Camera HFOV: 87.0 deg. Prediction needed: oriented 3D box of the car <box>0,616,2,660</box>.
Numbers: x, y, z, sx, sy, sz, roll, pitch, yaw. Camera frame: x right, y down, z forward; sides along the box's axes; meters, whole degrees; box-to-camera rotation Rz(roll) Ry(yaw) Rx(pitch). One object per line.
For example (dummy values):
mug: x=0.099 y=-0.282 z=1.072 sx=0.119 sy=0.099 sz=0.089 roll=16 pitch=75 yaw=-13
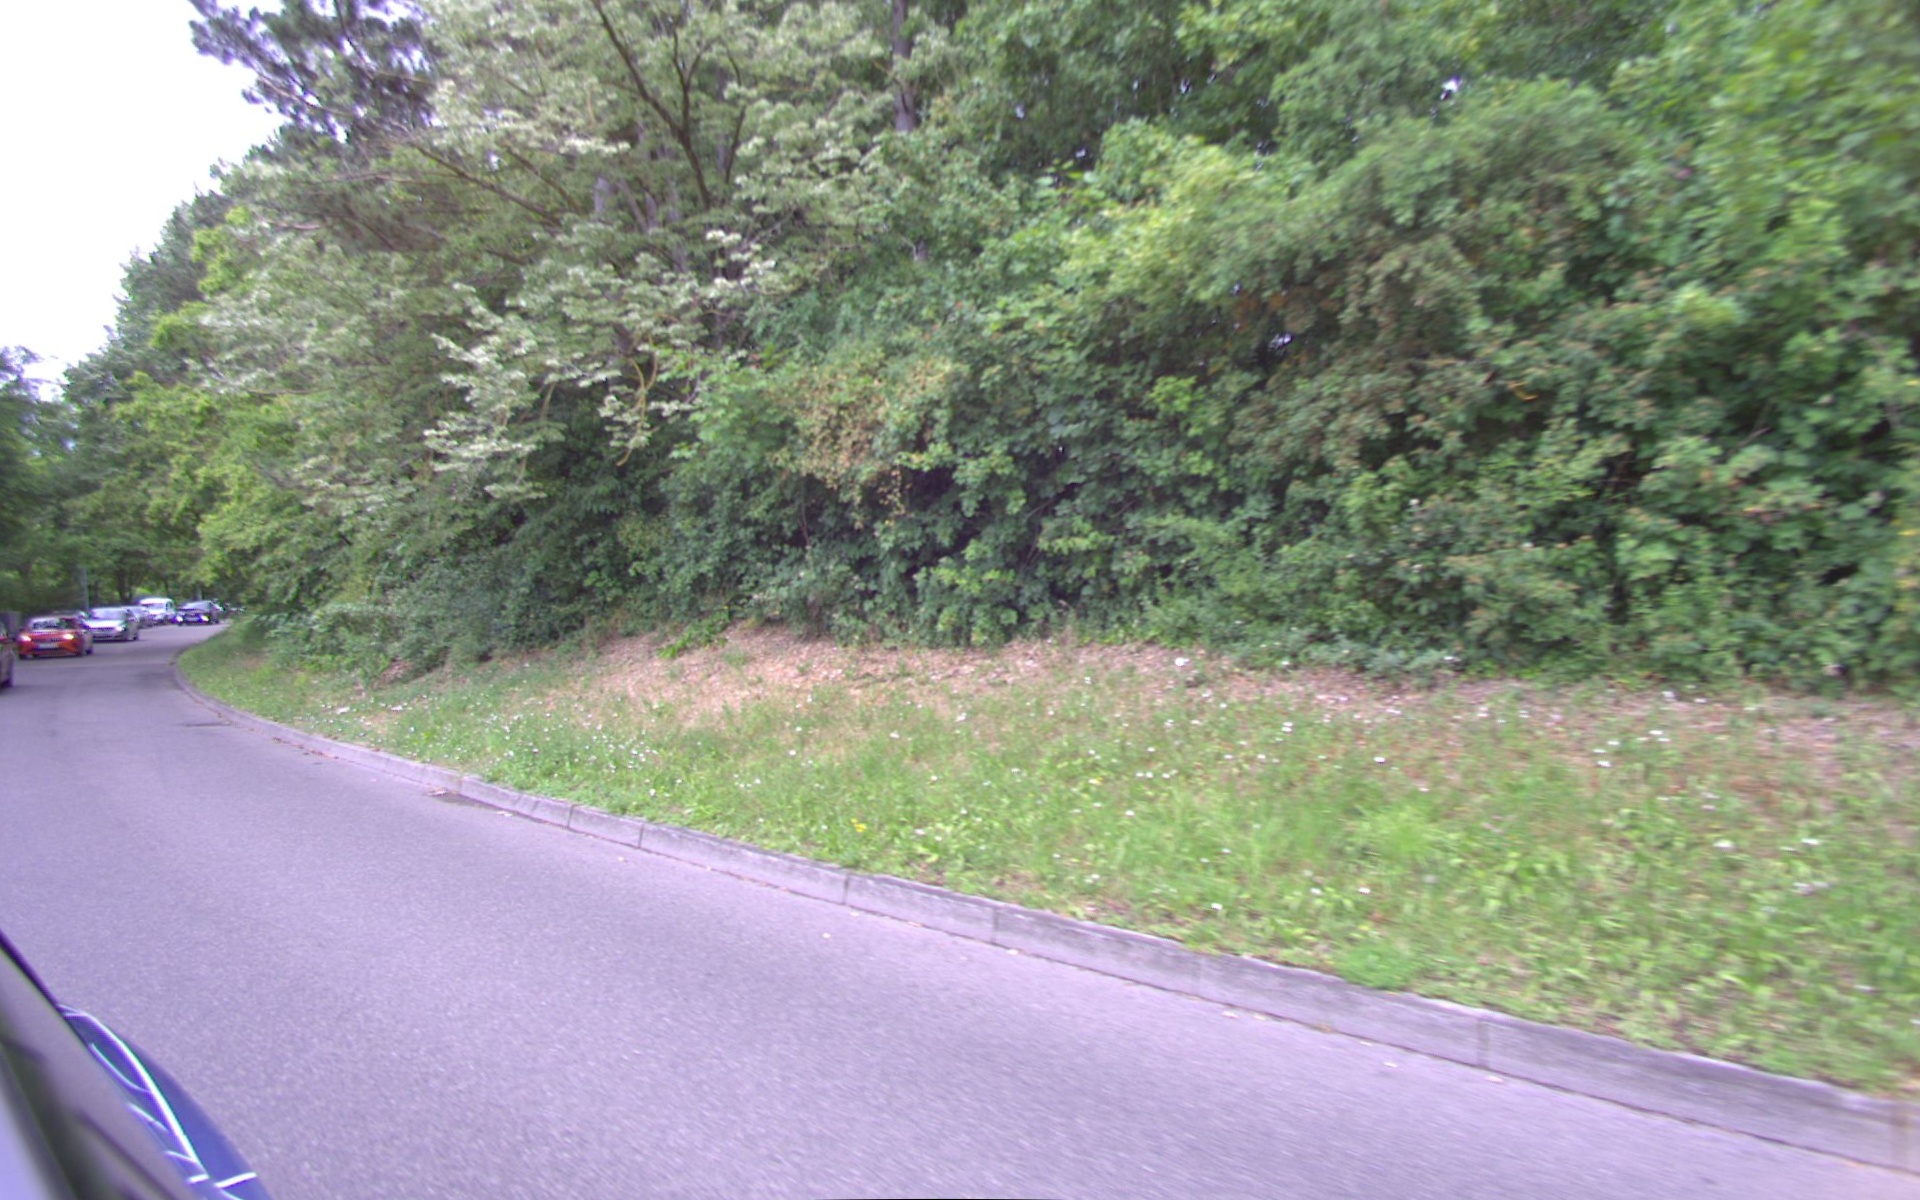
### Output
car: x=-36.640 y=1.427 z=36.951 sx=1.816 sy=1.697 sz=4.611 roll=-1 pitch=-1 yaw=-36

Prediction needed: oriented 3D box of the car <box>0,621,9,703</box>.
car: x=-21.498 y=1.308 z=21.324 sx=4.628 sy=1.640 sz=1.971 roll=-1 pitch=0 yaw=45

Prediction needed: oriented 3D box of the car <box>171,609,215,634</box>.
car: x=-51.141 y=1.412 z=67.556 sx=1.739 sy=1.529 sz=4.013 roll=-2 pitch=1 yaw=-29

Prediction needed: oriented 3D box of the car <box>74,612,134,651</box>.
car: x=-40.089 y=1.441 z=47.461 sx=1.893 sy=1.694 sz=4.009 roll=1 pitch=-1 yaw=-37

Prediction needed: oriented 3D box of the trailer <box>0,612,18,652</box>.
trailer: x=-40.743 y=1.357 z=42.564 sx=1.356 sy=1.616 sz=2.272 roll=-2 pitch=0 yaw=-36

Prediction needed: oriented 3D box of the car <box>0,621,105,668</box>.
car: x=-31.798 y=1.501 z=35.546 sx=1.836 sy=1.460 sz=4.189 roll=-2 pitch=0 yaw=-29

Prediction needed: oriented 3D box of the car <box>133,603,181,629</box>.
car: x=-55.380 y=1.088 z=69.847 sx=1.836 sy=1.739 sz=4.189 roll=-2 pitch=0 yaw=-29
